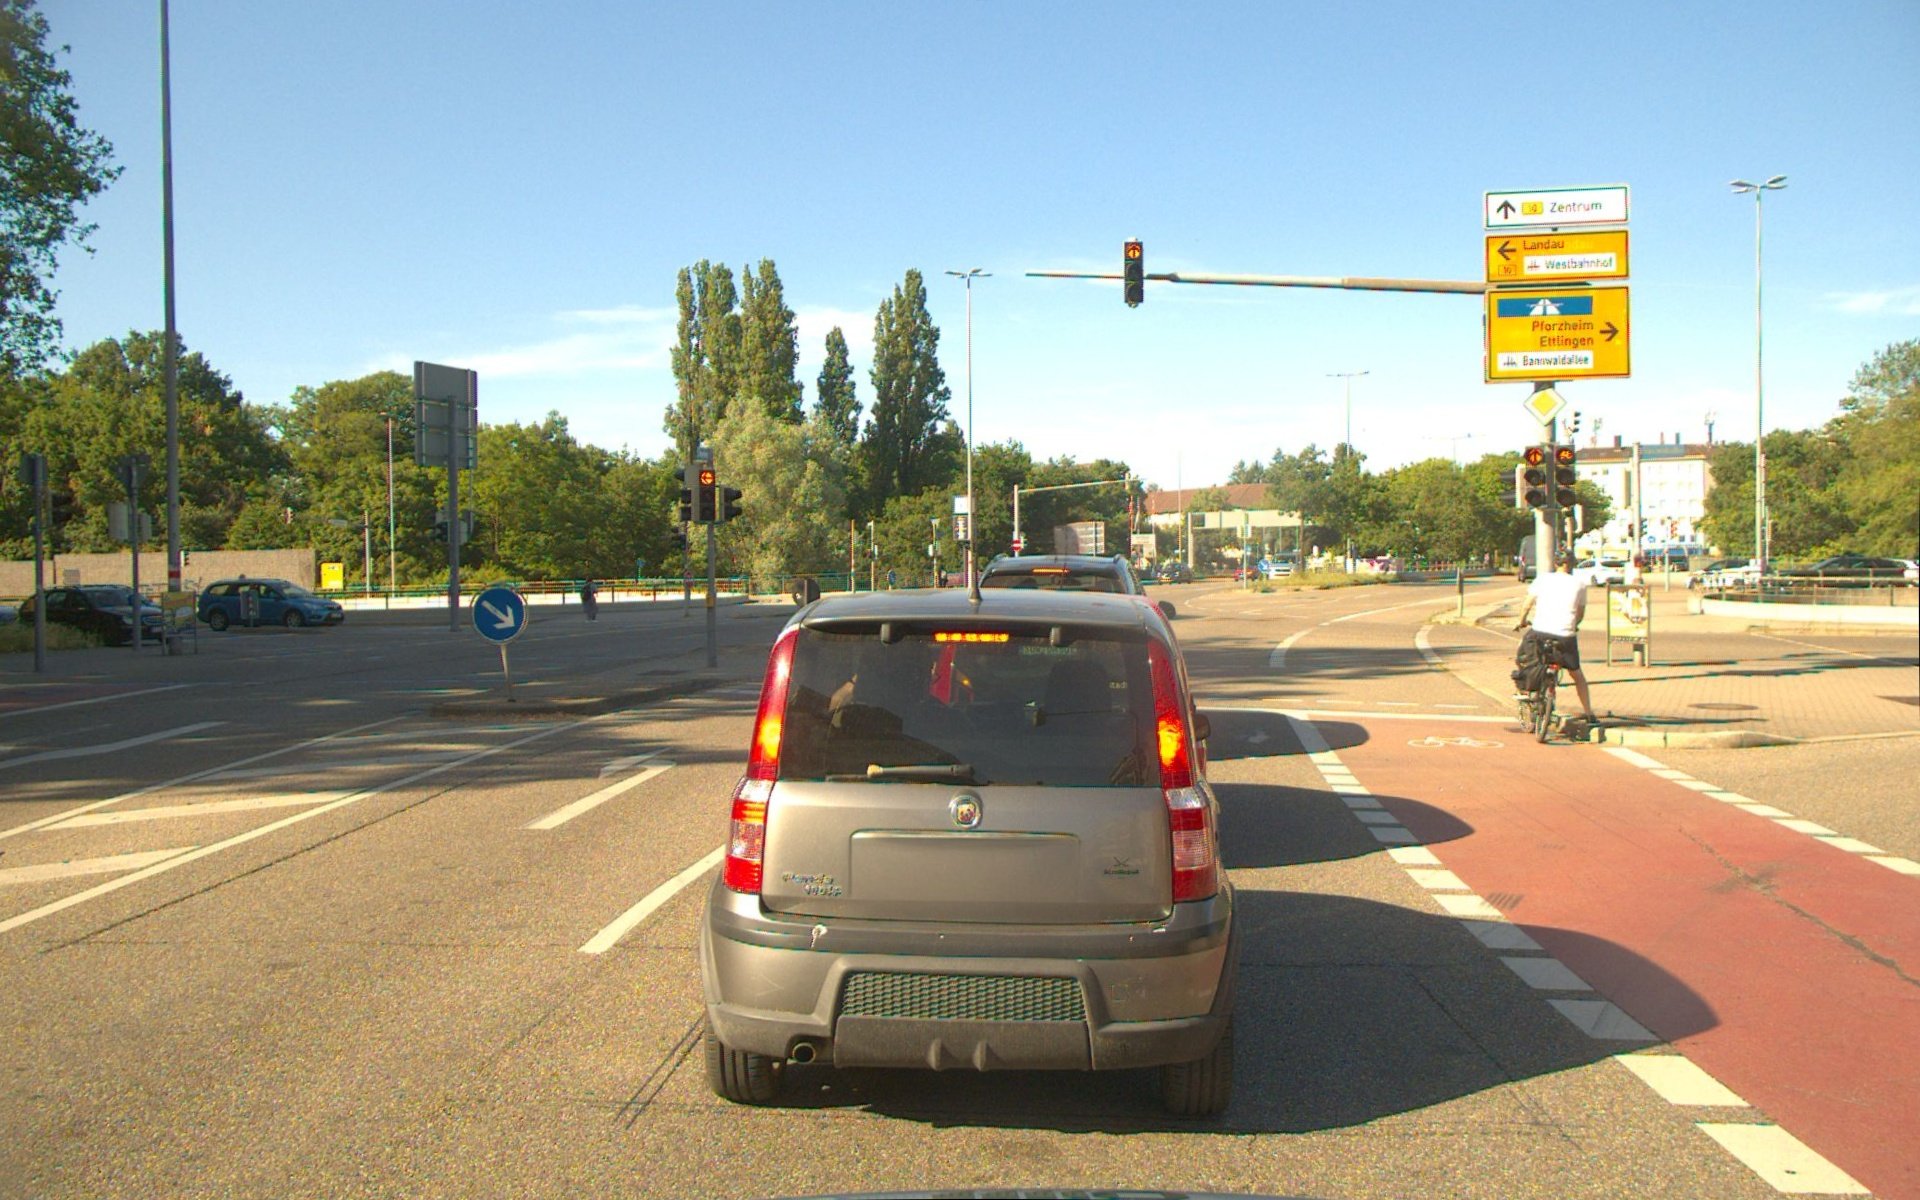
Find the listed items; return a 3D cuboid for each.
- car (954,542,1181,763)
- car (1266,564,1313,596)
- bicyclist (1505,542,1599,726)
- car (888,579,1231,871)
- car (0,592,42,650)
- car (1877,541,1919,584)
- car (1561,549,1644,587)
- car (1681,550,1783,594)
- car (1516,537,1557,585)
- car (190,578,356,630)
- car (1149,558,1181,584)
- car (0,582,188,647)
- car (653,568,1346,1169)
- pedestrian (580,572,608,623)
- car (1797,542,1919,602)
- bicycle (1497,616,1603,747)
[{"bbox_3d":[1.183,0.394,16.101,1.829,1.821,4.418,1,1,8],"label":"car"},{"bbox_3d":[21.097,-1.263,105.687,1.972,1.887,4.884,0,-2,23],"label":"car"},{"bbox_3d":[5.823,0.306,16.243,0.783,1.734,1.084,0,1,25],"label":"bicyclist"},{"bbox_3d":[0.596,0.642,10.713,1.782,1.505,4.001,1,0,2],"label":"car"},{"bbox_3d":[-26.402,0.561,43.259,4.345,1.464,1.826,-1,1,22],"label":"car"},{"bbox_3d":[39.056,-1.497,66.000,1.840,1.713,3.940,-2,1,-41],"label":"car"},{"bbox_3d":[32.736,-1.611,84.377,1.961,1.781,3.982,1,-2,-16],"label":"car"},{"bbox_3d":[34.910,-1.244,74.898,1.963,1.781,3.977,1,-2,-19],"label":"car"},{"bbox_3d":[34.728,-2.320,99.694,2.207,2.653,4.888,0,-2,18],"label":"car"},{"bbox_3d":[-20.699,0.110,49.850,4.341,1.464,1.828,-1,1,13],"label":"car"},{"bbox_3d":[16.564,-2.327,133.306,1.970,1.887,4.433,0,-2,15],"label":"car"},{"bbox_3d":[-21.007,0.353,39.912,4.345,1.464,1.826,-1,1,22],"label":"car"},{"bbox_3d":[0.195,0.673,6.350,1.782,1.515,4.002,2,1,3],"label":"car"},{"bbox_3d":[-12.090,-0.073,54.686,0.673,1.565,1.365,0,-4,-3],"label":"pedestrian"},{"bbox_3d":[33.209,-0.996,60.935,3.922,2.049,1.991,-1,-2,38],"label":"car"},{"bbox_3d":[5.826,0.751,16.255,0.783,1.130,2.401,0,1,25],"label":"bicycle"}]
